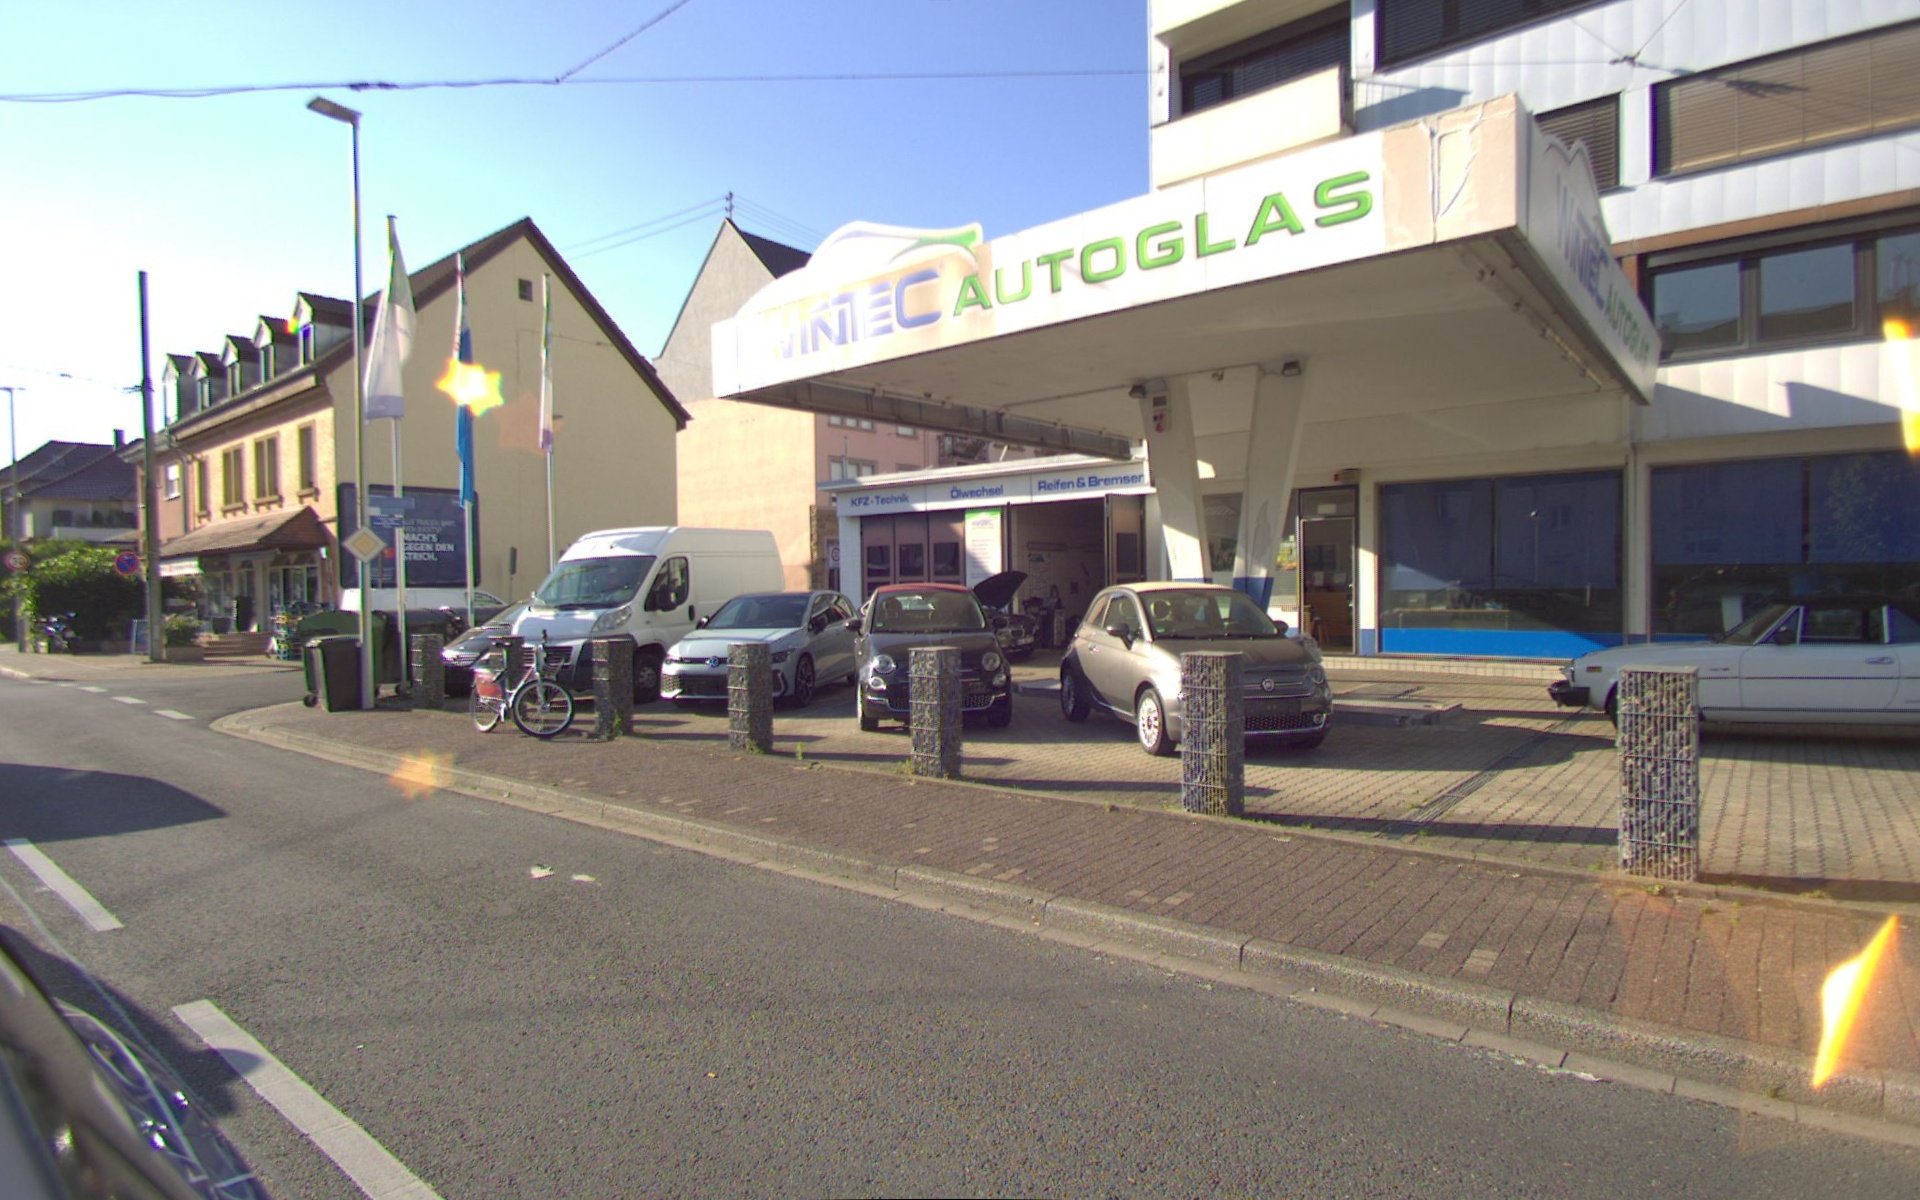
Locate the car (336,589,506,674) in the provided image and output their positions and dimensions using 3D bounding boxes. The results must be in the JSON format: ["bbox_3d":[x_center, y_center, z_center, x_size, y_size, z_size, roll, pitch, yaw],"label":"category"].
[{"bbox_3d":[-13.891,0.749,26.249,1.449,2.029,3.628,-1,0,37],"label":"car"}]

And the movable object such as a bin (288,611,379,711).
[{"bbox_3d":[-9.704,0.925,15.710,1.030,1.475,0.798,-1,0,-18],"label":"movable object such as a bin"}]

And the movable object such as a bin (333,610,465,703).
[{"bbox_3d":[-9.575,0.923,17.366,1.039,1.475,1.787,-1,0,15],"label":"movable object such as a bin"}]

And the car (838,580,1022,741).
[{"bbox_3d":[-0.481,0.572,11.505,1.569,1.508,3.443,-1,0,-10],"label":"car"}]

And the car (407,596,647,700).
[{"bbox_3d":[-7.060,0.712,17.005,1.725,1.488,4.016,-1,0,12],"label":"car"}]

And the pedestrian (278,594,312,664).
[{"bbox_3d":[-18.077,0.766,27.506,0.754,1.866,0.825,-1,0,-34],"label":"pedestrian"}]

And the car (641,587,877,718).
[{"bbox_3d":[-2.530,0.596,13.801,1.725,1.508,4.016,-1,0,12],"label":"car"}]

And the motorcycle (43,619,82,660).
[{"bbox_3d":[-27.965,1.214,31.526,2.186,1.226,0.699,-1,0,43],"label":"motorcycle"}]

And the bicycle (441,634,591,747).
[{"bbox_3d":[-4.894,0.948,11.118,1.789,1.094,0.716,-1,1,37],"label":"bicycle"}]

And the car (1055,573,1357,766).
[{"bbox_3d":[2.155,0.542,9.790,1.517,1.497,3.381,-1,0,-11],"label":"car"}]

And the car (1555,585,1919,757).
[{"bbox_3d":[7.387,0.550,8.567,3.898,1.308,1.506,-1,-1,37],"label":"car"}]

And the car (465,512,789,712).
[{"bbox_3d":[-4.686,0.139,15.220,2.098,2.472,4.963,-1,0,18],"label":"car"}]

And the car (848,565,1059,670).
[{"bbox_3d":[-0.205,0.330,20.916,4.255,1.958,1.720,-1,0,40],"label":"car"}]
